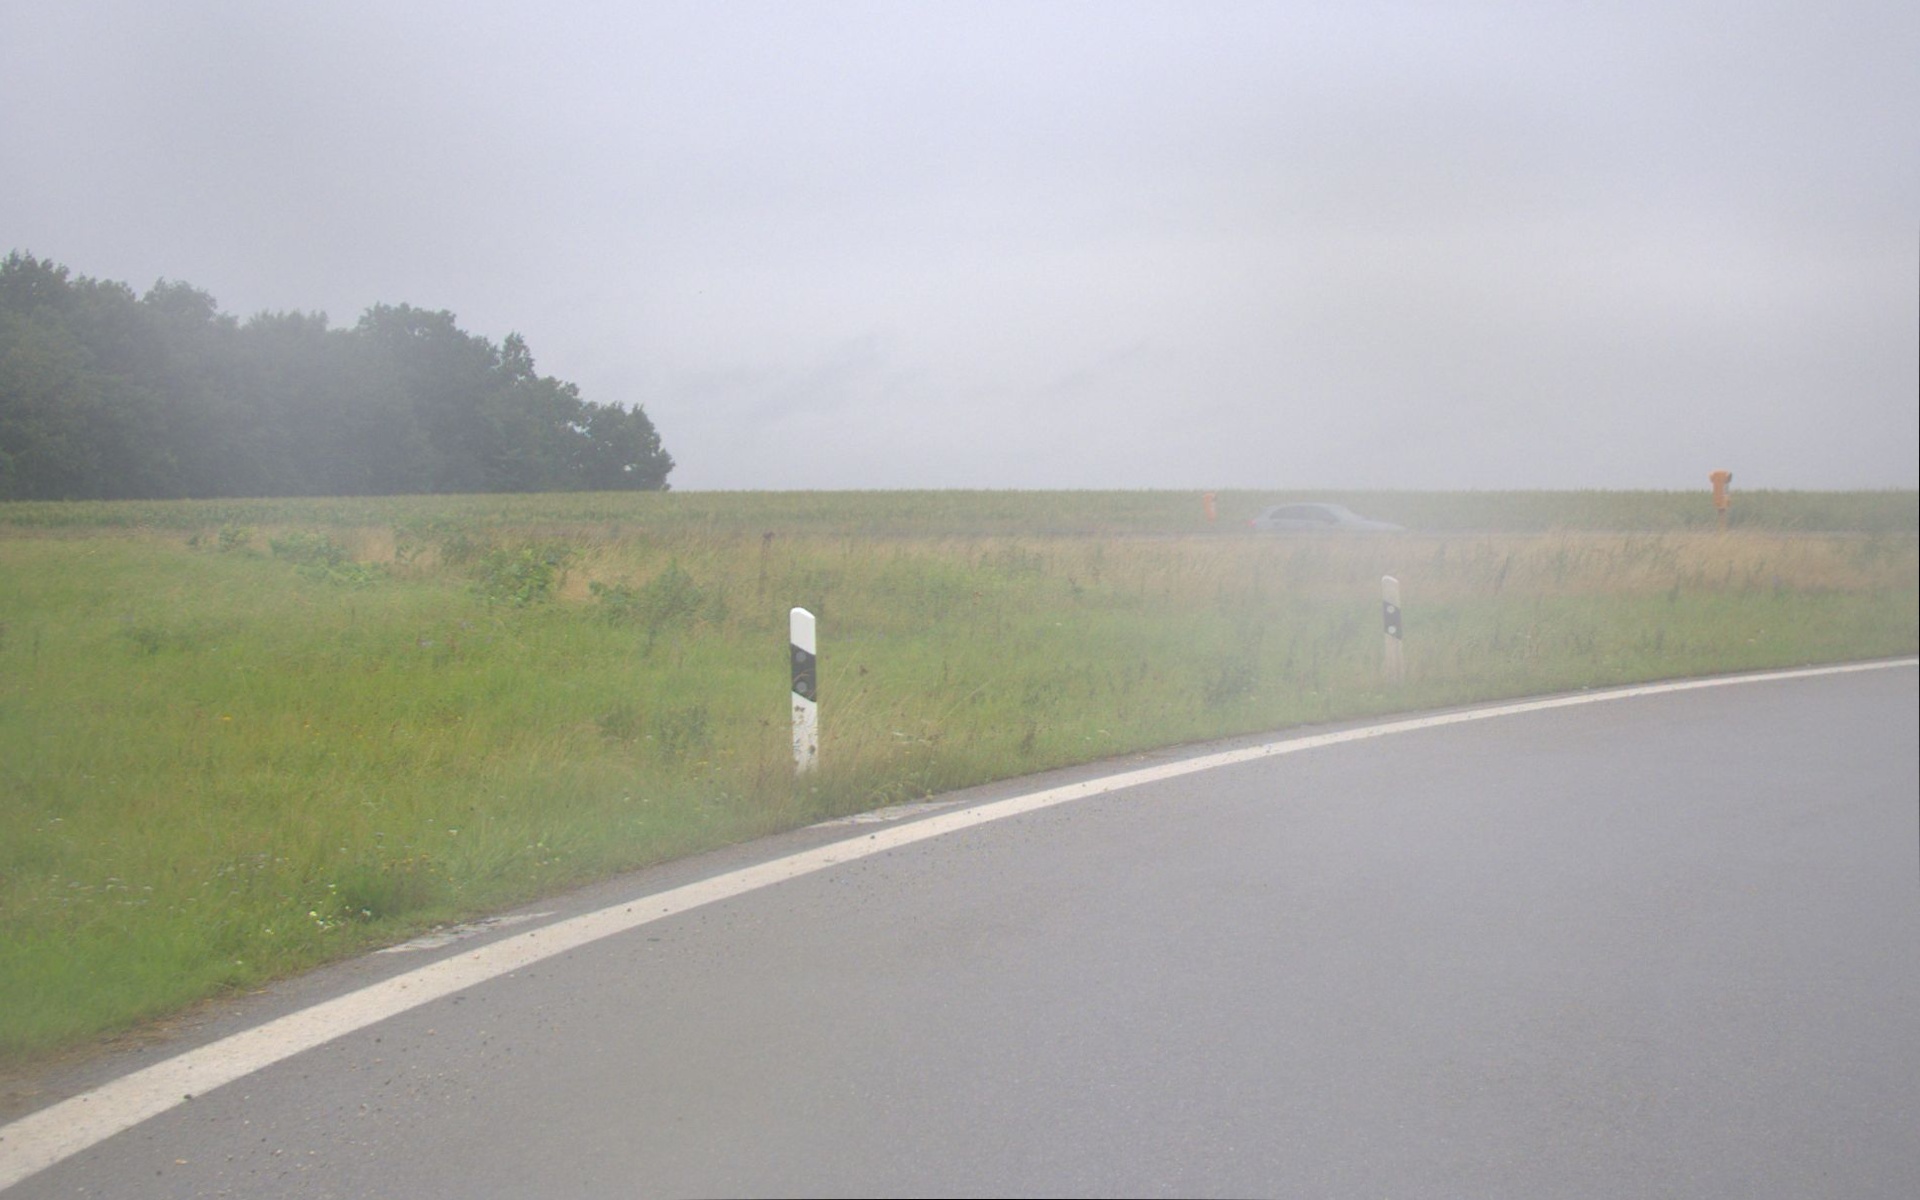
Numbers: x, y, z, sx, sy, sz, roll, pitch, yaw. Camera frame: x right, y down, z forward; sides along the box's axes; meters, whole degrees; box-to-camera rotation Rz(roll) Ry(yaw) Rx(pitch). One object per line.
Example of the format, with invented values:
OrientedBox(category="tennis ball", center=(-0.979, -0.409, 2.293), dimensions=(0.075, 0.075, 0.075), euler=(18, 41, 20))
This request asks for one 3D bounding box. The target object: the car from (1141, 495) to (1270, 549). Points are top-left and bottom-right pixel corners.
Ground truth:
OrientedBox(category="car", center=(8.282, -2.636, 116.083), dimensions=(3.994, 1.730, 1.732), euler=(0, 2, 33))
